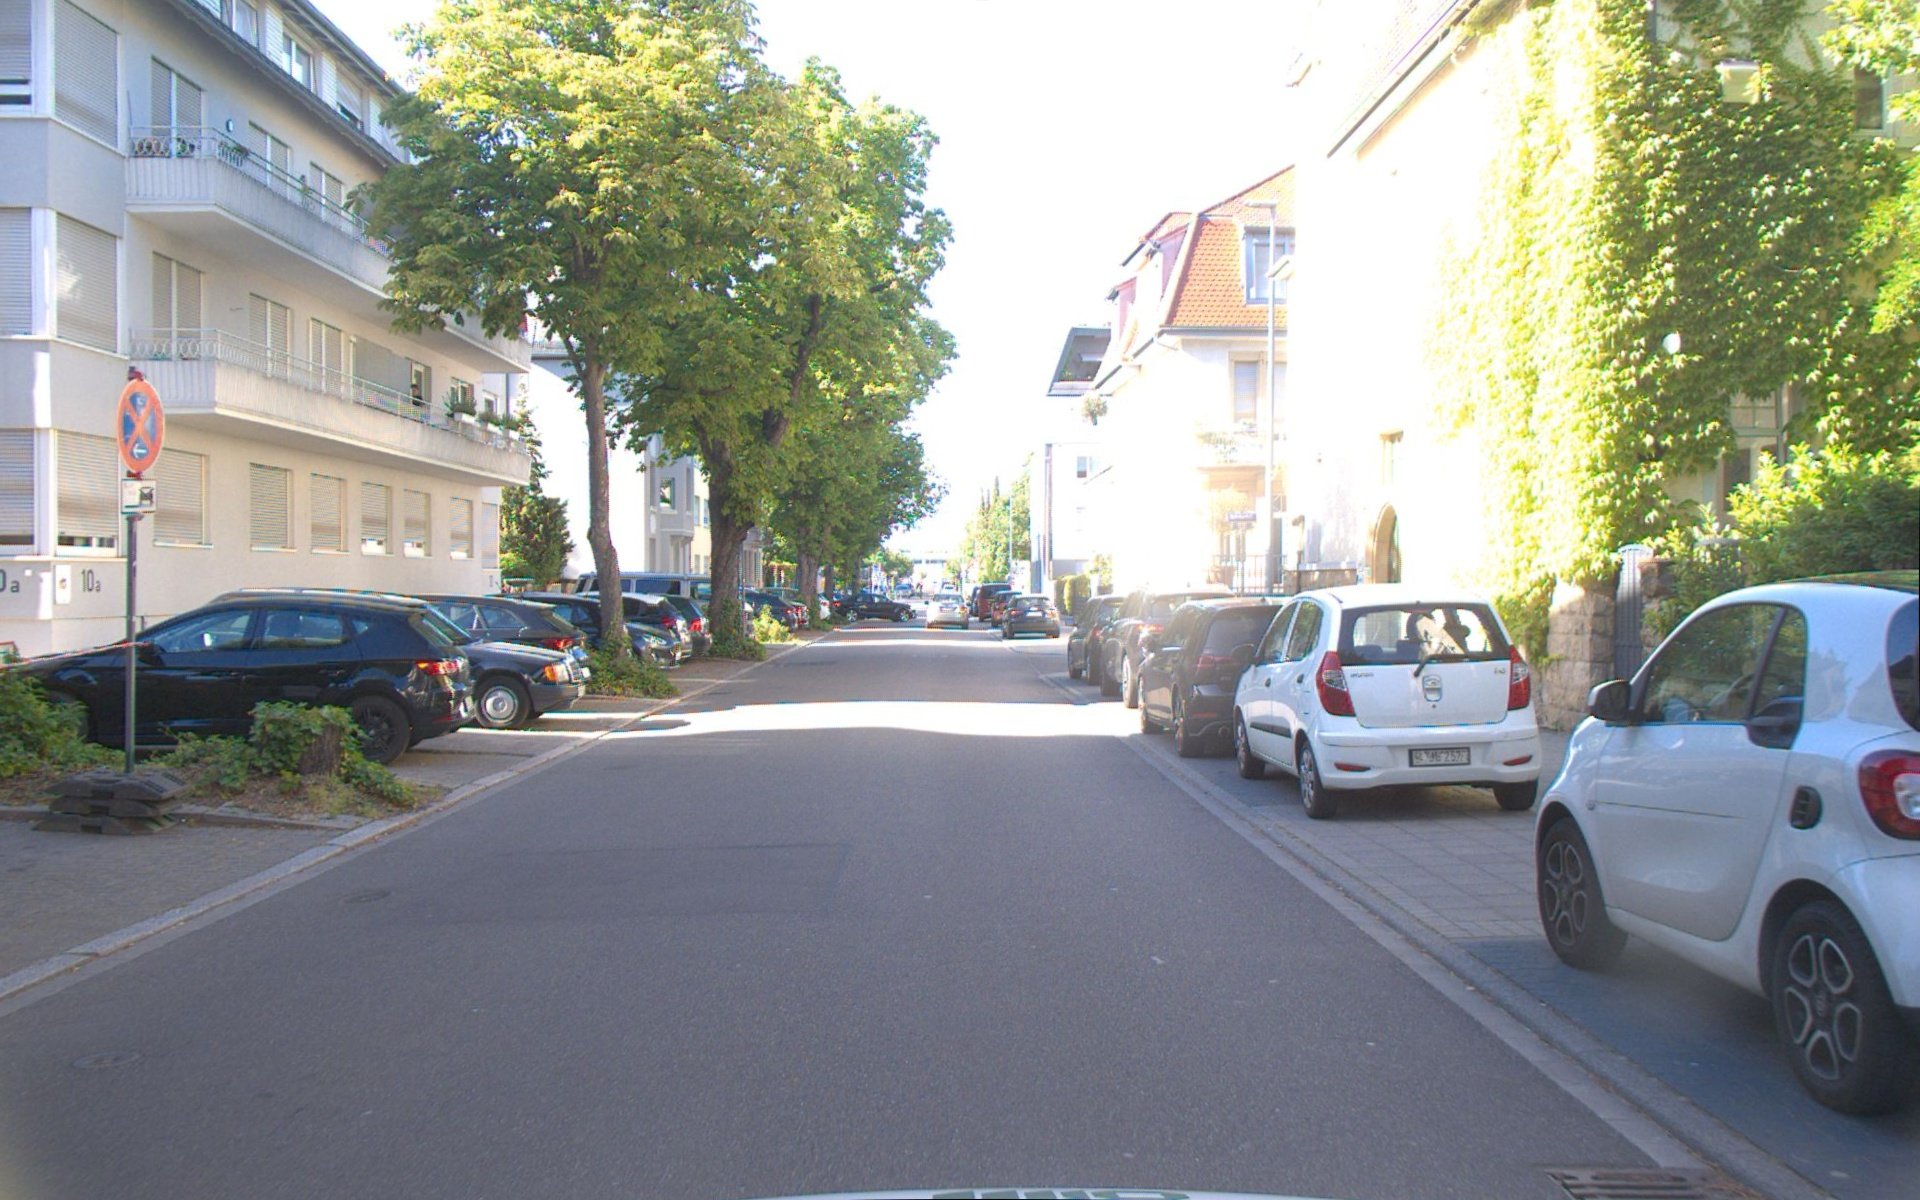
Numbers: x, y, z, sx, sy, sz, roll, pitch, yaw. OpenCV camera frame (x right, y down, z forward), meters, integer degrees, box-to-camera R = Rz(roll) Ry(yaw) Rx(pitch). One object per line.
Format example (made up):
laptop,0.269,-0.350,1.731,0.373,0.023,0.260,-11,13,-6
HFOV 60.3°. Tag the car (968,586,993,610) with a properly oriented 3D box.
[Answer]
car,1.374,-0.142,111.078,1.532,1.435,3.729,-4,-1,0

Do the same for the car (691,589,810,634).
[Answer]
car,-7.162,0.396,56.829,3.906,1.494,1.696,0,0,-2

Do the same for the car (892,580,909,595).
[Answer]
car,-6.947,-1.445,192.926,1.836,1.758,3.996,0,1,-5

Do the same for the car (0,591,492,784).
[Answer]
car,-6.359,0.730,15.107,3.800,1.540,1.829,-1,0,-10

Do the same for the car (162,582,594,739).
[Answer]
car,-6.669,0.653,19.443,4.506,1.635,1.829,-1,0,-10

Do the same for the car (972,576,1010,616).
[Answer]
car,1.556,-0.183,84.043,1.833,1.938,5.197,-1,0,0

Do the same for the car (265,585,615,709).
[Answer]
car,-6.844,0.604,22.078,4.103,1.466,1.712,2,0,-2

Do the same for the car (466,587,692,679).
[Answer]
car,-6.720,0.572,29.422,3.569,1.488,1.710,2,0,1

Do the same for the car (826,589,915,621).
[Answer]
car,-4.466,0.250,82.158,4.122,1.473,1.704,2,-1,-17

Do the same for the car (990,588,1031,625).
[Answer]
car,2.159,0.273,71.340,1.560,1.506,3.246,-2,0,-1

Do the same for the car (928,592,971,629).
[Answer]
car,-0.433,0.419,68.022,1.691,1.445,3.960,-1,0,0

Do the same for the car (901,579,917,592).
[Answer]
car,-6.680,-1.876,216.213,1.751,1.558,4.000,6,1,0

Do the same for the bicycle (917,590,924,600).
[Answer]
bicycle,-4.519,-0.579,187.803,0.705,1.098,1.890,-1,0,0

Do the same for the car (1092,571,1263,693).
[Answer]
car,3.000,0.438,23.687,1.755,1.547,4.365,-1,-1,-1

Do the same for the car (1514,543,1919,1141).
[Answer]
car,3.261,0.665,5.830,1.592,1.576,2.868,1,-1,-1

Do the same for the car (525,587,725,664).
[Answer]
car,-6.928,0.512,34.479,3.844,1.439,1.715,2,1,-3

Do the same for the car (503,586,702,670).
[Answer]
car,-6.850,0.525,31.928,3.407,1.483,1.797,2,0,0

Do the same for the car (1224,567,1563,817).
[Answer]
car,3.092,0.611,12.460,1.543,1.576,3.467,-1,-1,-1

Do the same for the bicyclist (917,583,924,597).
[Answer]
bicyclist,-4.478,-1.089,187.610,0.706,1.563,1.137,-1,0,-1

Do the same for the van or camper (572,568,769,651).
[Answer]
van or camper,-6.927,0.226,39.874,4.406,1.948,1.964,0,0,-1

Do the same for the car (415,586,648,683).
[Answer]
car,-6.923,0.560,27.002,3.411,1.445,1.708,2,-1,-6

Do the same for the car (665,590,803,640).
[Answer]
car,-7.026,0.451,51.690,4.102,1.525,1.860,0,0,-2

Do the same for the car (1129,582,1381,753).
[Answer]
car,2.845,0.619,16.838,1.675,1.461,4.191,-2,-1,-1

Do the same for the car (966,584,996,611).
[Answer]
car,1.270,-0.150,100.734,1.701,1.558,4.178,-1,0,-1

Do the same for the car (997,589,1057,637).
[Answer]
car,2.186,0.407,54.925,1.587,1.465,3.933,-2,1,-3

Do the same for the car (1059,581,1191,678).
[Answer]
car,2.814,0.495,29.061,1.629,1.547,3.998,-1,-1,-4

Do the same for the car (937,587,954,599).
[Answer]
car,-1.714,-0.822,195.385,1.689,1.353,3.996,-1,0,-5

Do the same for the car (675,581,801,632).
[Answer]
car,-8.015,0.220,60.018,4.296,1.681,1.823,-1,2,0

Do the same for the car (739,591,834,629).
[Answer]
car,-7.514,0.422,72.065,3.941,1.510,1.806,2,0,-2
